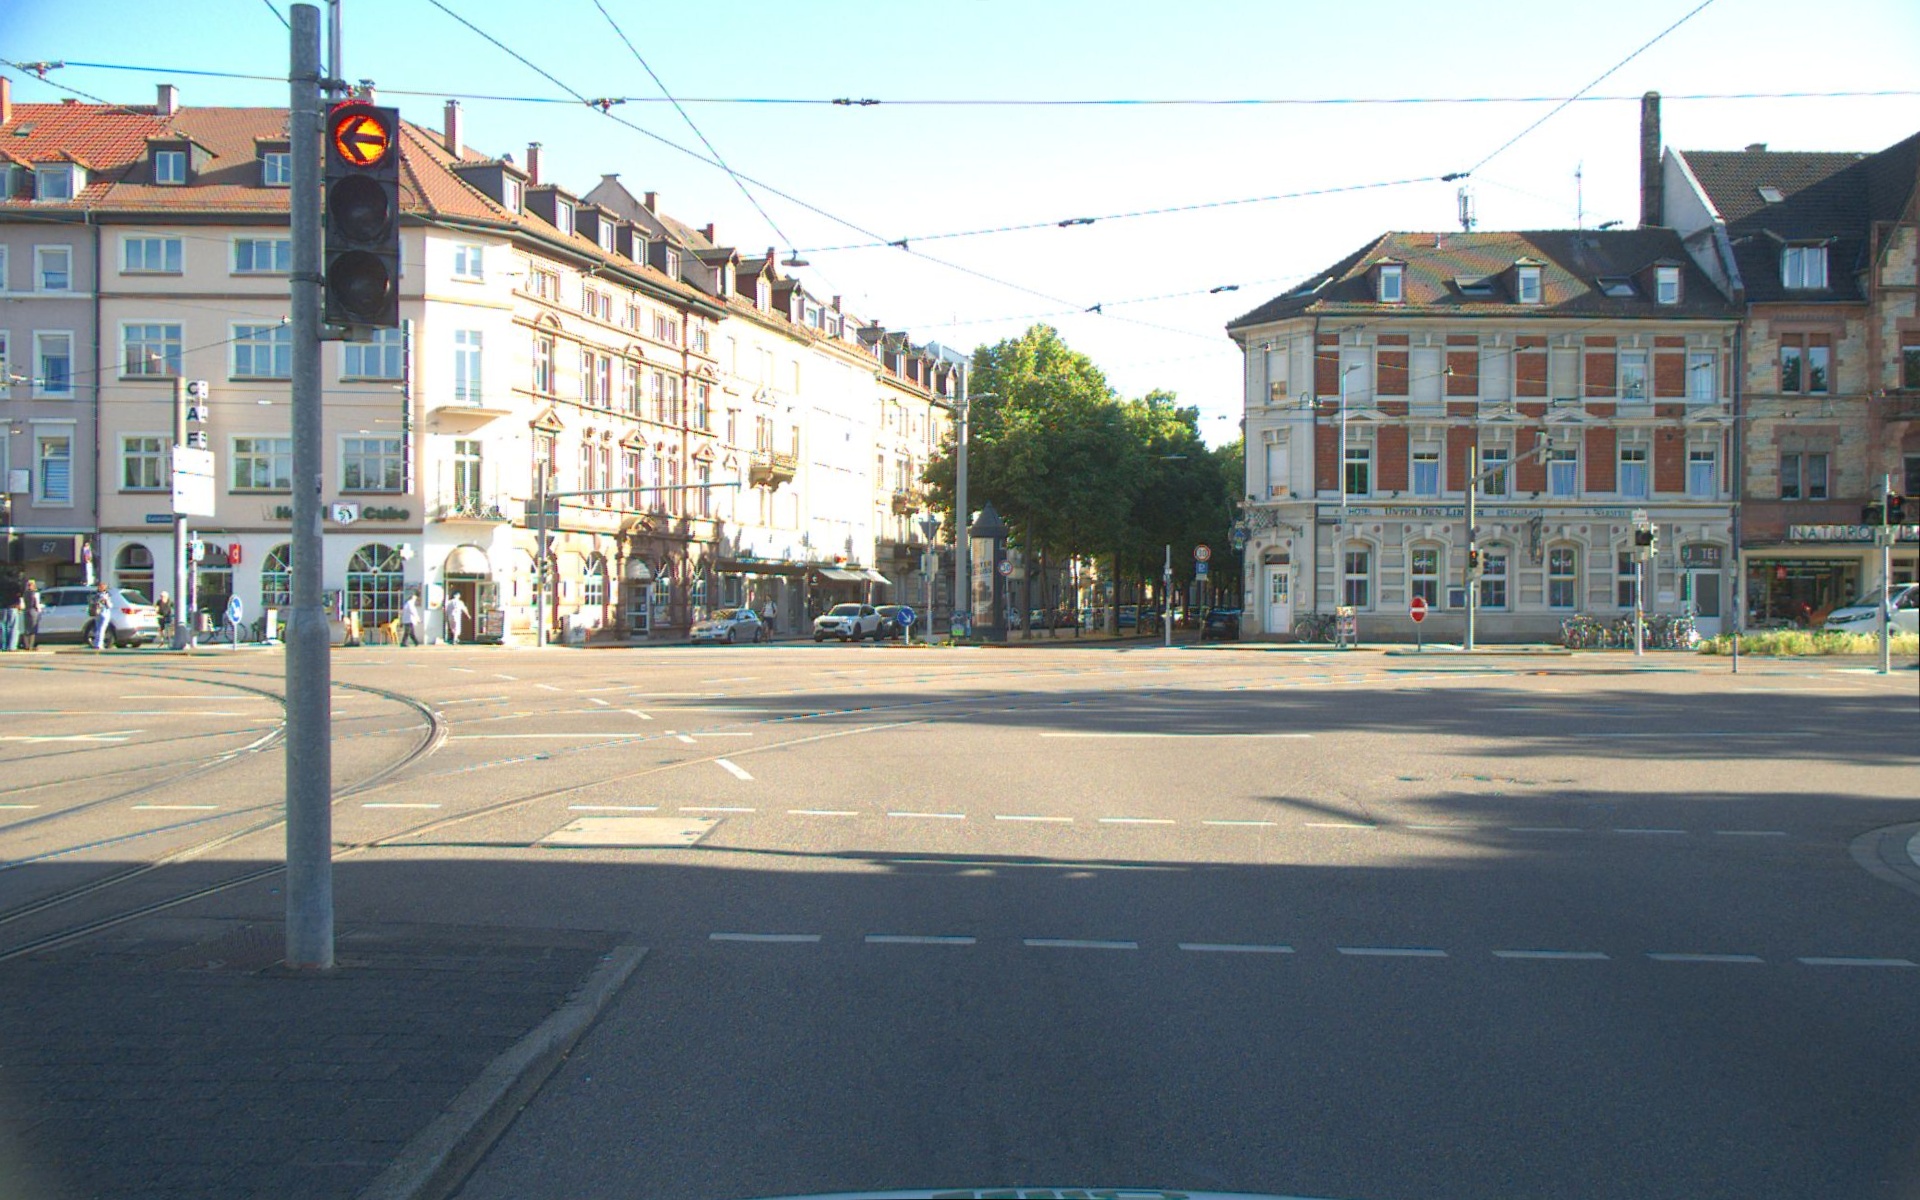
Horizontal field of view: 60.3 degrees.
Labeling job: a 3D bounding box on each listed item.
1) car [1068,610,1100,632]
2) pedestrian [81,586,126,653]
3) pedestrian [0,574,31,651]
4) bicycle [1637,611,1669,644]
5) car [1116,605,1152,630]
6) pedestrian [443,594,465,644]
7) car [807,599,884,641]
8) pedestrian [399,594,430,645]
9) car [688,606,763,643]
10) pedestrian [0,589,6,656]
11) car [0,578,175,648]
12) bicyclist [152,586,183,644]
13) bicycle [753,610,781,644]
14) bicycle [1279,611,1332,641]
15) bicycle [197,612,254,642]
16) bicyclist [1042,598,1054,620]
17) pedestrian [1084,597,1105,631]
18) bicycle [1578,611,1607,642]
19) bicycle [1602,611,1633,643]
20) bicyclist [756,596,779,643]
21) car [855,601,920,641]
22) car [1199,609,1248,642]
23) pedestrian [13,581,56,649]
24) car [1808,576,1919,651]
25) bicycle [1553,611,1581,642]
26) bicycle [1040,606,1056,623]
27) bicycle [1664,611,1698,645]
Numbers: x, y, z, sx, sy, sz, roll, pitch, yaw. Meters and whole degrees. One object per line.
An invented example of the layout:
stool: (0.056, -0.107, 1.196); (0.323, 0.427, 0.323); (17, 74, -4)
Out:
car: (9.458, 1.582, 125.835); (1.764, 1.603, 3.893); (1, 0, 15)
pedestrian: (-21.253, 0.479, 41.048); (0.655, 1.622, 0.815); (1, -1, -1)
pedestrian: (-22.938, 0.297, 39.987); (0.516, 1.854, 0.676); (1, -1, -1)
bicycle: (22.460, 0.883, 53.619); (0.749, 1.025, 2.221); (1, 0, 17)
car: (12.327, 1.218, 116.773); (1.951, 1.713, 4.003); (1, 0, 15)
pedestrian: (-17.484, 0.667, 57.144); (0.575, 1.705, 0.498); (1, -1, -1)
car: (-4.612, 0.802, 67.188); (1.764, 1.613, 4.162); (1, 0, 16)
pedestrian: (-17.960, 0.638, 54.444); (0.556, 1.671, 0.792); (1, -1, 22)
car: (-9.454, 0.983, 66.902); (1.624, 1.398, 3.894); (1, 0, 14)
pedestrian: (-24.295, 0.556, 41.249); (0.561, 1.677, 0.727); (1, -1, -1)
car: (-23.678, 0.347, 44.086); (4.585, 1.764, 1.834); (1, 0, -7)
bicyclist: (-24.852, 0.469, 51.854); (0.608, 1.822, 0.615); (1, -1, 4)
bicycle: (-7.556, 1.051, 64.940); (0.553, 1.276, 1.558); (1, 0, 14)
bicycle: (11.982, 0.899, 57.281); (1.764, 0.979, 0.604); (1, 0, 14)
bicycle: (-25.094, 0.914, 56.500); (1.666, 1.000, 0.611); (1, 0, -1)
bicyclist: (6.328, 0.638, 118.733); (0.659, 1.595, 0.748); (1, -1, 17)
pedestrian: (8.237, 0.868, 101.392); (0.952, 2.049, 0.908); (1, -1, -32)
bicycle: (20.564, 0.864, 53.792); (0.749, 0.985, 2.211); (1, 0, 17)
bicycle: (21.343, 0.877, 53.699); (0.749, 1.001, 2.211); (1, 0, 17)
bicyclist: (-7.558, 0.768, 64.950); (0.553, 1.835, 0.915); (1, -1, 14)
car: (-3.187, 0.927, 73.544); (1.786, 1.715, 3.877); (1, 0, 16)
car: (13.194, 1.268, 82.651); (1.719, 1.583, 4.001); (1, 0, 20)
pedestrian: (-22.956, 0.372, 41.022); (0.571, 1.677, 0.840); (1, -1, -1)
car: (24.960, 0.338, 42.687); (5.091, 1.886, 2.001); (0, 0, 2)
bicycle: (19.810, 0.851, 54.028); (0.749, 0.979, 2.211); (1, 0, 17)
bicycle: (6.322, 1.034, 118.727); (0.659, 1.228, 1.822); (1, 0, 17)
bicycle: (23.301, 0.896, 53.460); (0.775, 1.033, 2.211); (1, 0, 17)
